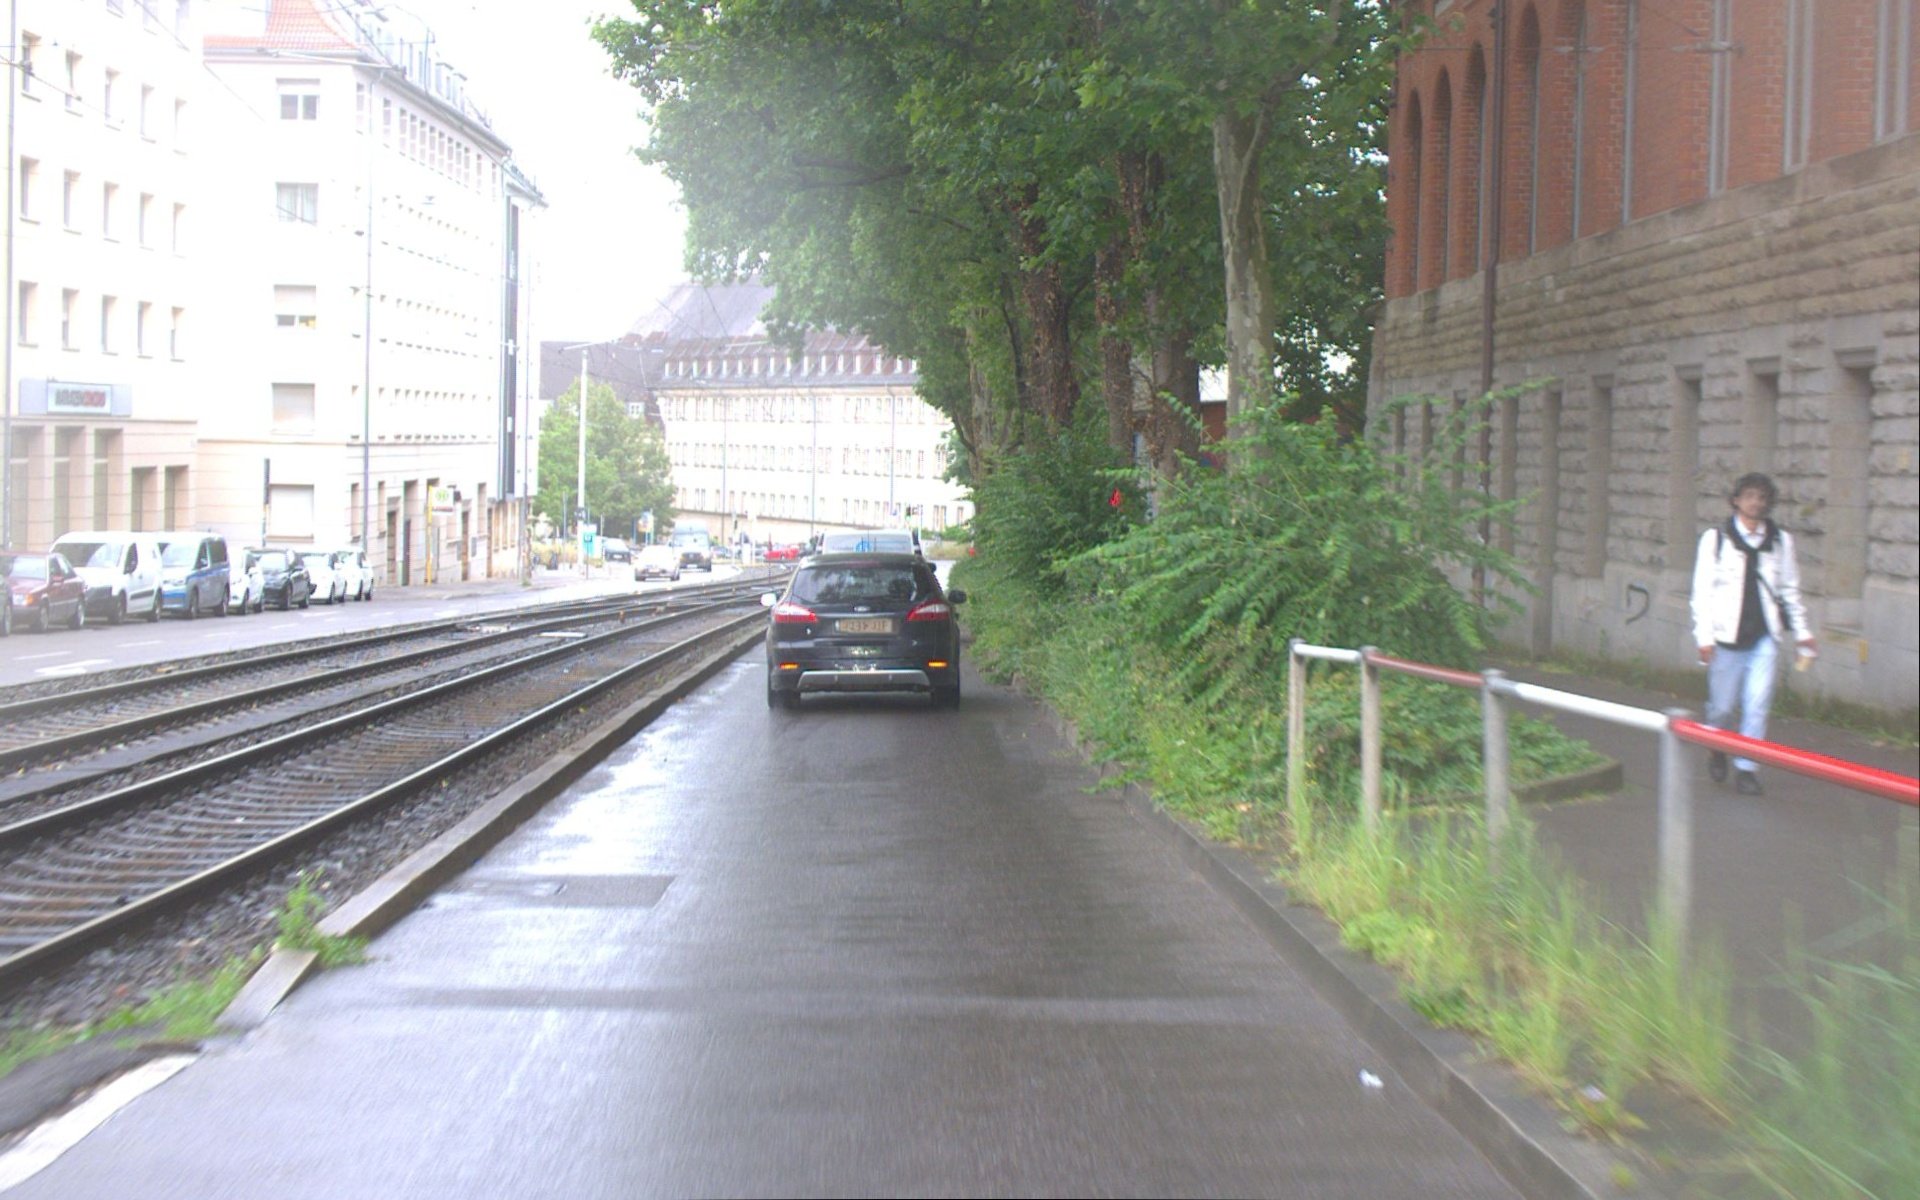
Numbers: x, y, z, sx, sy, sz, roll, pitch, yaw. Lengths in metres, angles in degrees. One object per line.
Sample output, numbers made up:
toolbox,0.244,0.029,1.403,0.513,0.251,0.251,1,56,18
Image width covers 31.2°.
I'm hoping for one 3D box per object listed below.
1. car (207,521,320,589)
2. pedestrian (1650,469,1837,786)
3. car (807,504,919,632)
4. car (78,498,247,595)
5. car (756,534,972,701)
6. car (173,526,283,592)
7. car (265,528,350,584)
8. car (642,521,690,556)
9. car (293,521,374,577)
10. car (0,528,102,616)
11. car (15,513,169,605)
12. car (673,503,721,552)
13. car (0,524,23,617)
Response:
car,-16.766,-1.113,82.971,1.813,1.494,4.583,2,2,-1
pedestrian,4.245,0.137,18.673,0.823,1.673,0.860,1,1,2
car,-1.613,-0.561,56.376,1.740,2.007,3.904,1,1,-2
car,-16.839,-1.179,72.903,1.994,1.898,5.459,2,2,3
car,-0.948,0.121,33.446,1.933,1.448,4.318,1,1,-2
car,-16.654,-0.955,78.398,1.691,1.434,4.049,1,1,-1
car,-17.243,-1.186,90.930,1.703,1.392,3.936,2,1,-4
car,-12.911,-2.716,150.982,1.712,1.457,4.281,0,2,0
car,-17.414,-1.428,95.623,1.708,1.445,3.542,3,1,-3
car,-16.883,-0.537,61.506,1.851,1.427,4.832,2,1,0
car,-16.878,-0.829,67.030,1.867,1.711,4.460,1,1,0
car,-13.459,-3.696,176.104,1.993,2.443,5.999,1,1,0
car,-16.544,-0.478,55.663,1.851,1.503,4.993,0,1,-6
